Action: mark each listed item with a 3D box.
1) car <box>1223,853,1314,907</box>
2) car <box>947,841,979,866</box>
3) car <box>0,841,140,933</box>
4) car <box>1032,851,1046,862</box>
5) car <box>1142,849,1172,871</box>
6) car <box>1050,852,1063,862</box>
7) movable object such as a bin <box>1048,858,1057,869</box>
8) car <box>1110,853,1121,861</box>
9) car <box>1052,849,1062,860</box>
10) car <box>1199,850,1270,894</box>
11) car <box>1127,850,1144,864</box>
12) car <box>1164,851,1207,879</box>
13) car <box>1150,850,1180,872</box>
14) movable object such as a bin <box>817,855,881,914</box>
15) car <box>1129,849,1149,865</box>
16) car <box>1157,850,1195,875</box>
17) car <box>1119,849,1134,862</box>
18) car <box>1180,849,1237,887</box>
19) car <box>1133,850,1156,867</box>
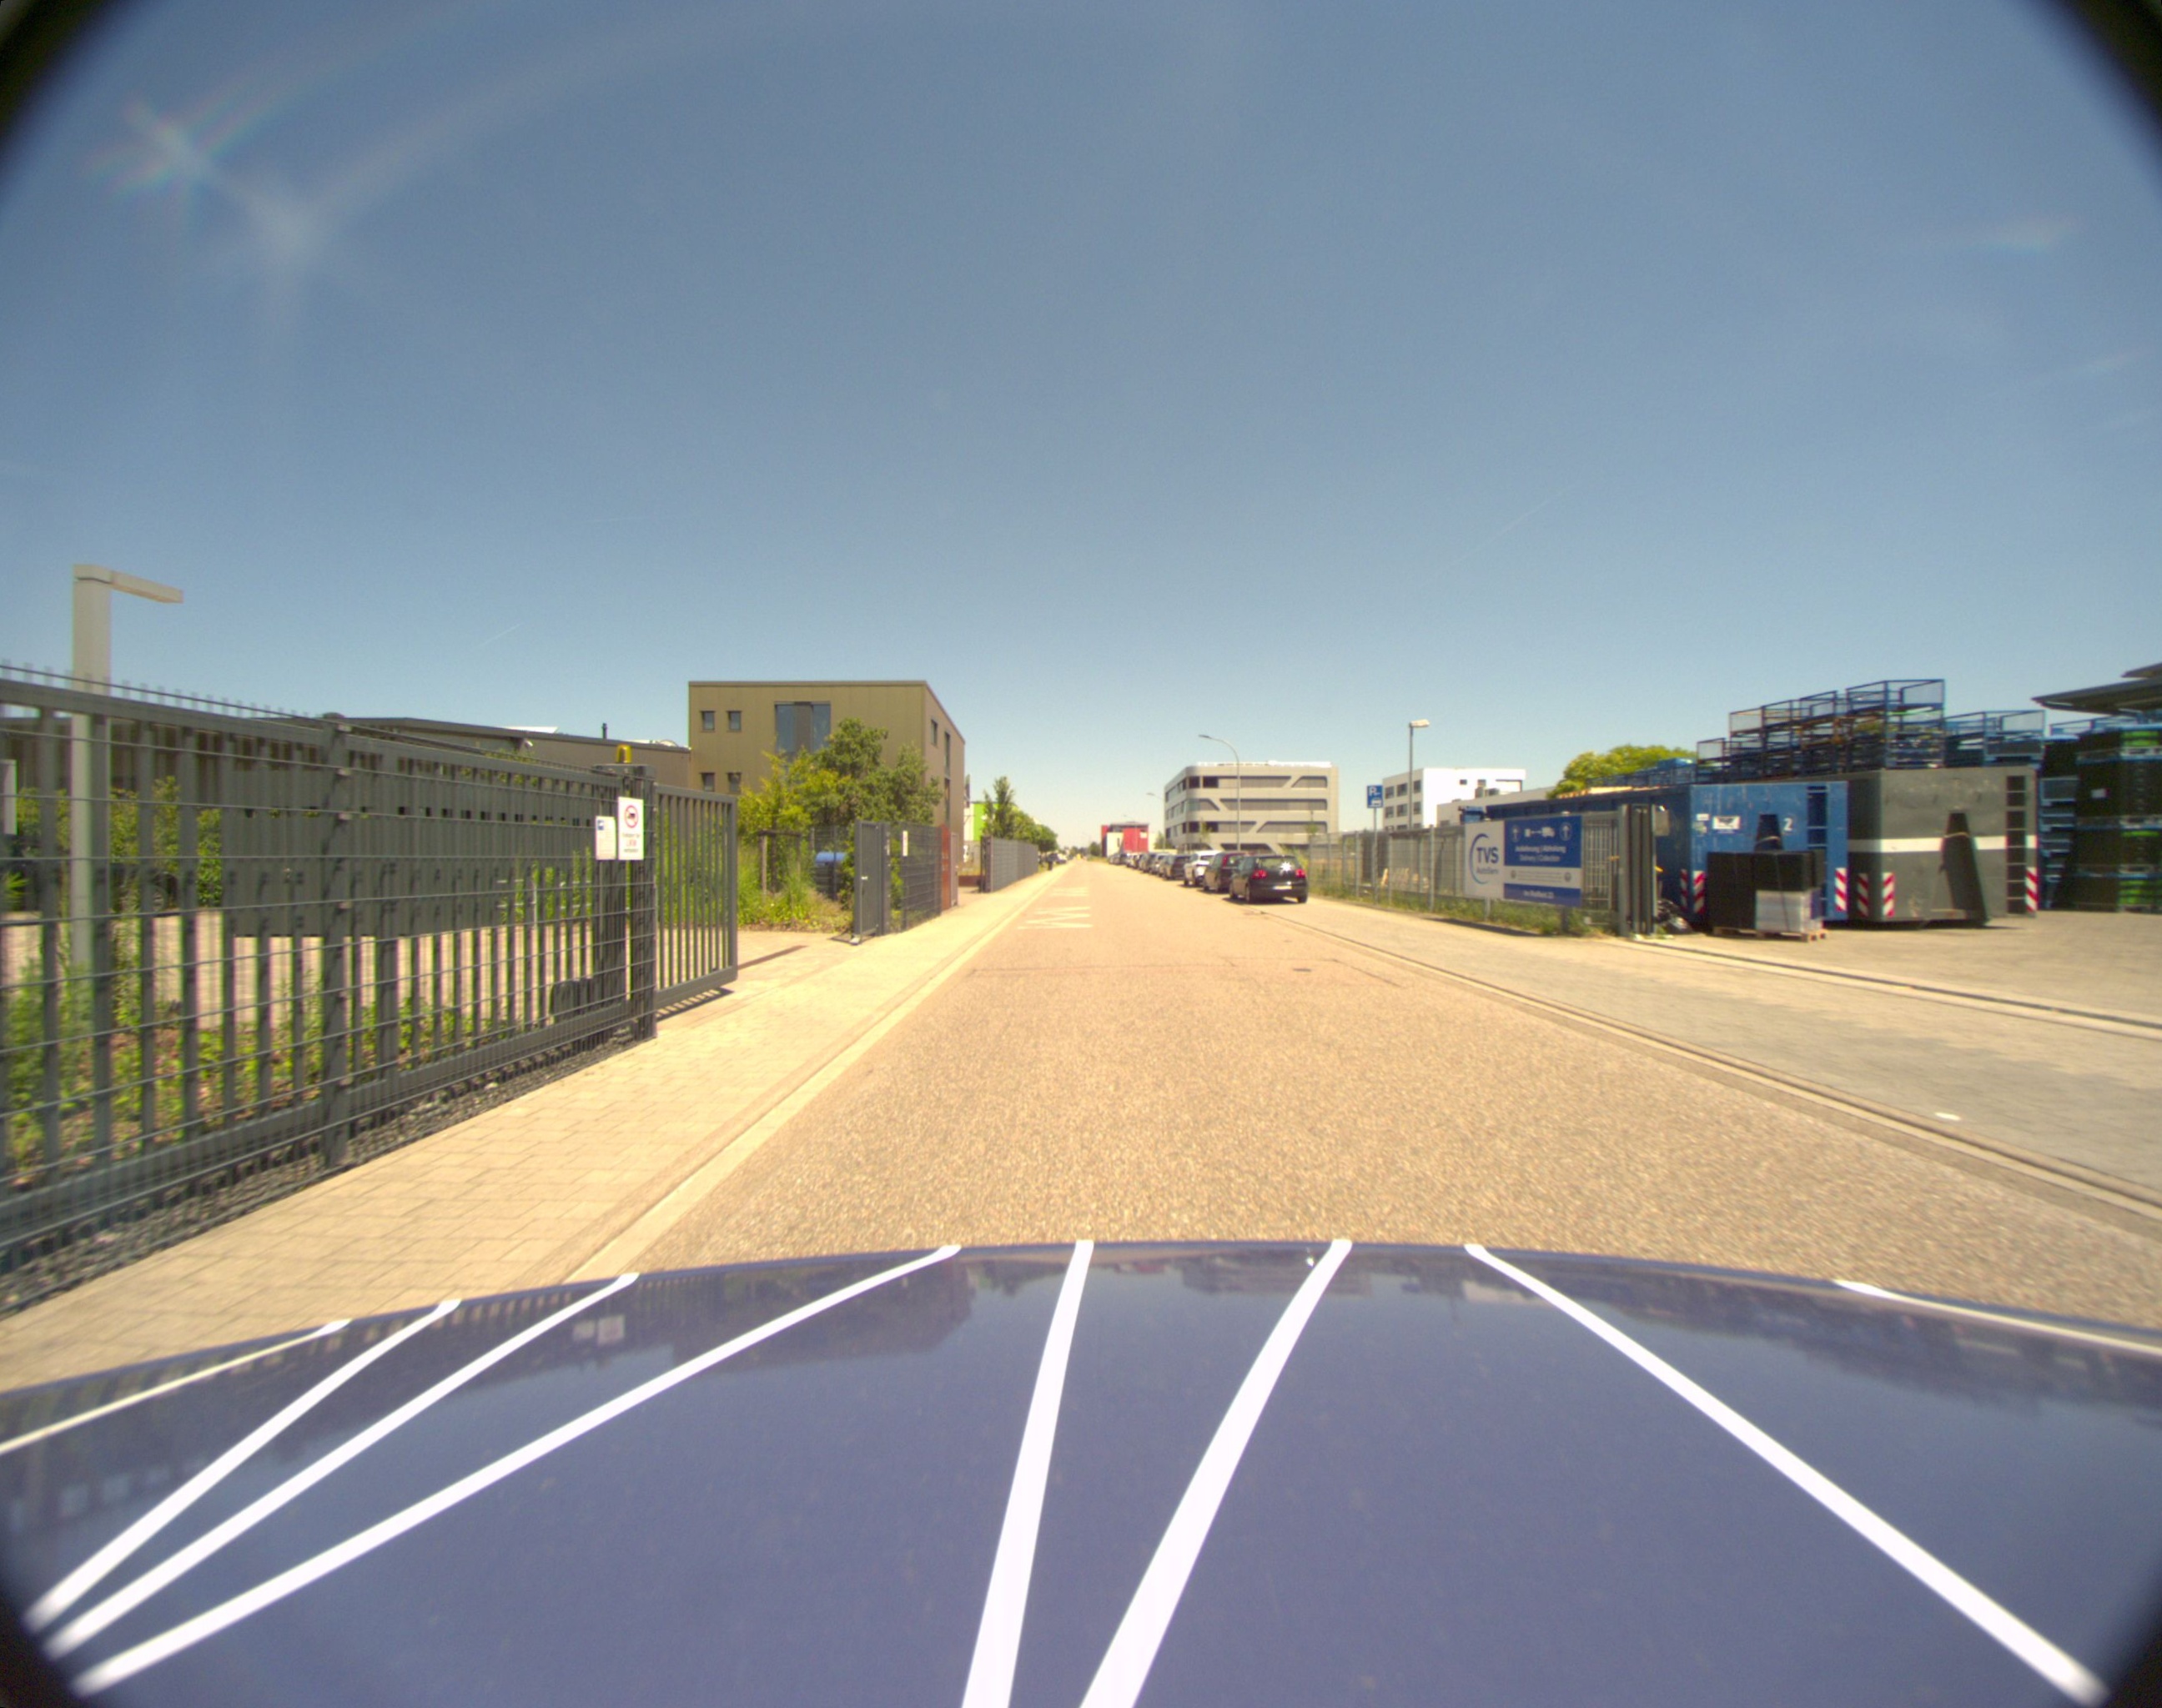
[{"bbox_3d":[5.751,0.737,23.808,1.773,1.453,4.333,-1,0,0],"label":"car"},{"bbox_3d":[-12.278,-0.087,79.481,2.135,2.479,7.025,2,0,0],"label":"car"},{"bbox_3d":[-20.606,0.598,13.869,1.871,1.663,4.000,0,0,1],"label":"car"},{"bbox_3d":[-6.348,0.373,114.727,1.727,1.623,4.022,-1,0,0],"label":"car"},{"bbox_3d":[5.899,0.419,59.485,1.795,1.597,4.462,-1,0,0],"label":"car"},{"bbox_3d":[-3.638,0.422,114.452,1.696,1.419,4.246,-1,0,0],"label":"car"},{"bbox_3d":[-2.461,0.786,65.447,0.553,0.923,0.522,4,1,10],"label":"movable object such as a bin"},{"bbox_3d":[6.523,0.574,142.191,1.704,1.378,3.937,-1,-1,-2],"label":"car"},{"bbox_3d":[-4.690,0.127,150.486,1.999,2.001,5.801,0,-2,-1],"label":"car"},{"bbox_3d":[5.841,0.639,29.479,1.773,1.547,4.500,-1,0,-1],"label":"car"},{"bbox_3d":[6.105,0.355,85.525,1.791,1.533,4.365,-1,0,2],"label":"car"},{"bbox_3d":[5.916,0.582,43.472,1.862,1.472,4.229,-1,0,0],"label":"car"},{"bbox_3d":[5.960,0.487,54.234,1.698,1.516,3.734,-1,0,0],"label":"car"},{"bbox_3d":[-5.849,0.751,19.239,1.337,1.451,0.948,0,1,0],"label":"movable object such as a bin"},{"bbox_3d":[6.196,0.318,80.912,1.791,1.647,3.768,-1,0,-1],"label":"car"},{"bbox_3d":[6.040,0.518,48.975,1.779,1.472,4.815,-1,0,0],"label":"car"},{"bbox_3d":[6.287,0.221,105.948,1.807,1.709,4.622,-1,0,1],"label":"car"},{"bbox_3d":[5.749,0.589,34.752,1.773,1.583,4.359,-1,1,-1],"label":"car"},{"bbox_3d":[6.067,0.397,73.153,1.767,1.508,4.379,-1,0,0],"label":"car"}]
